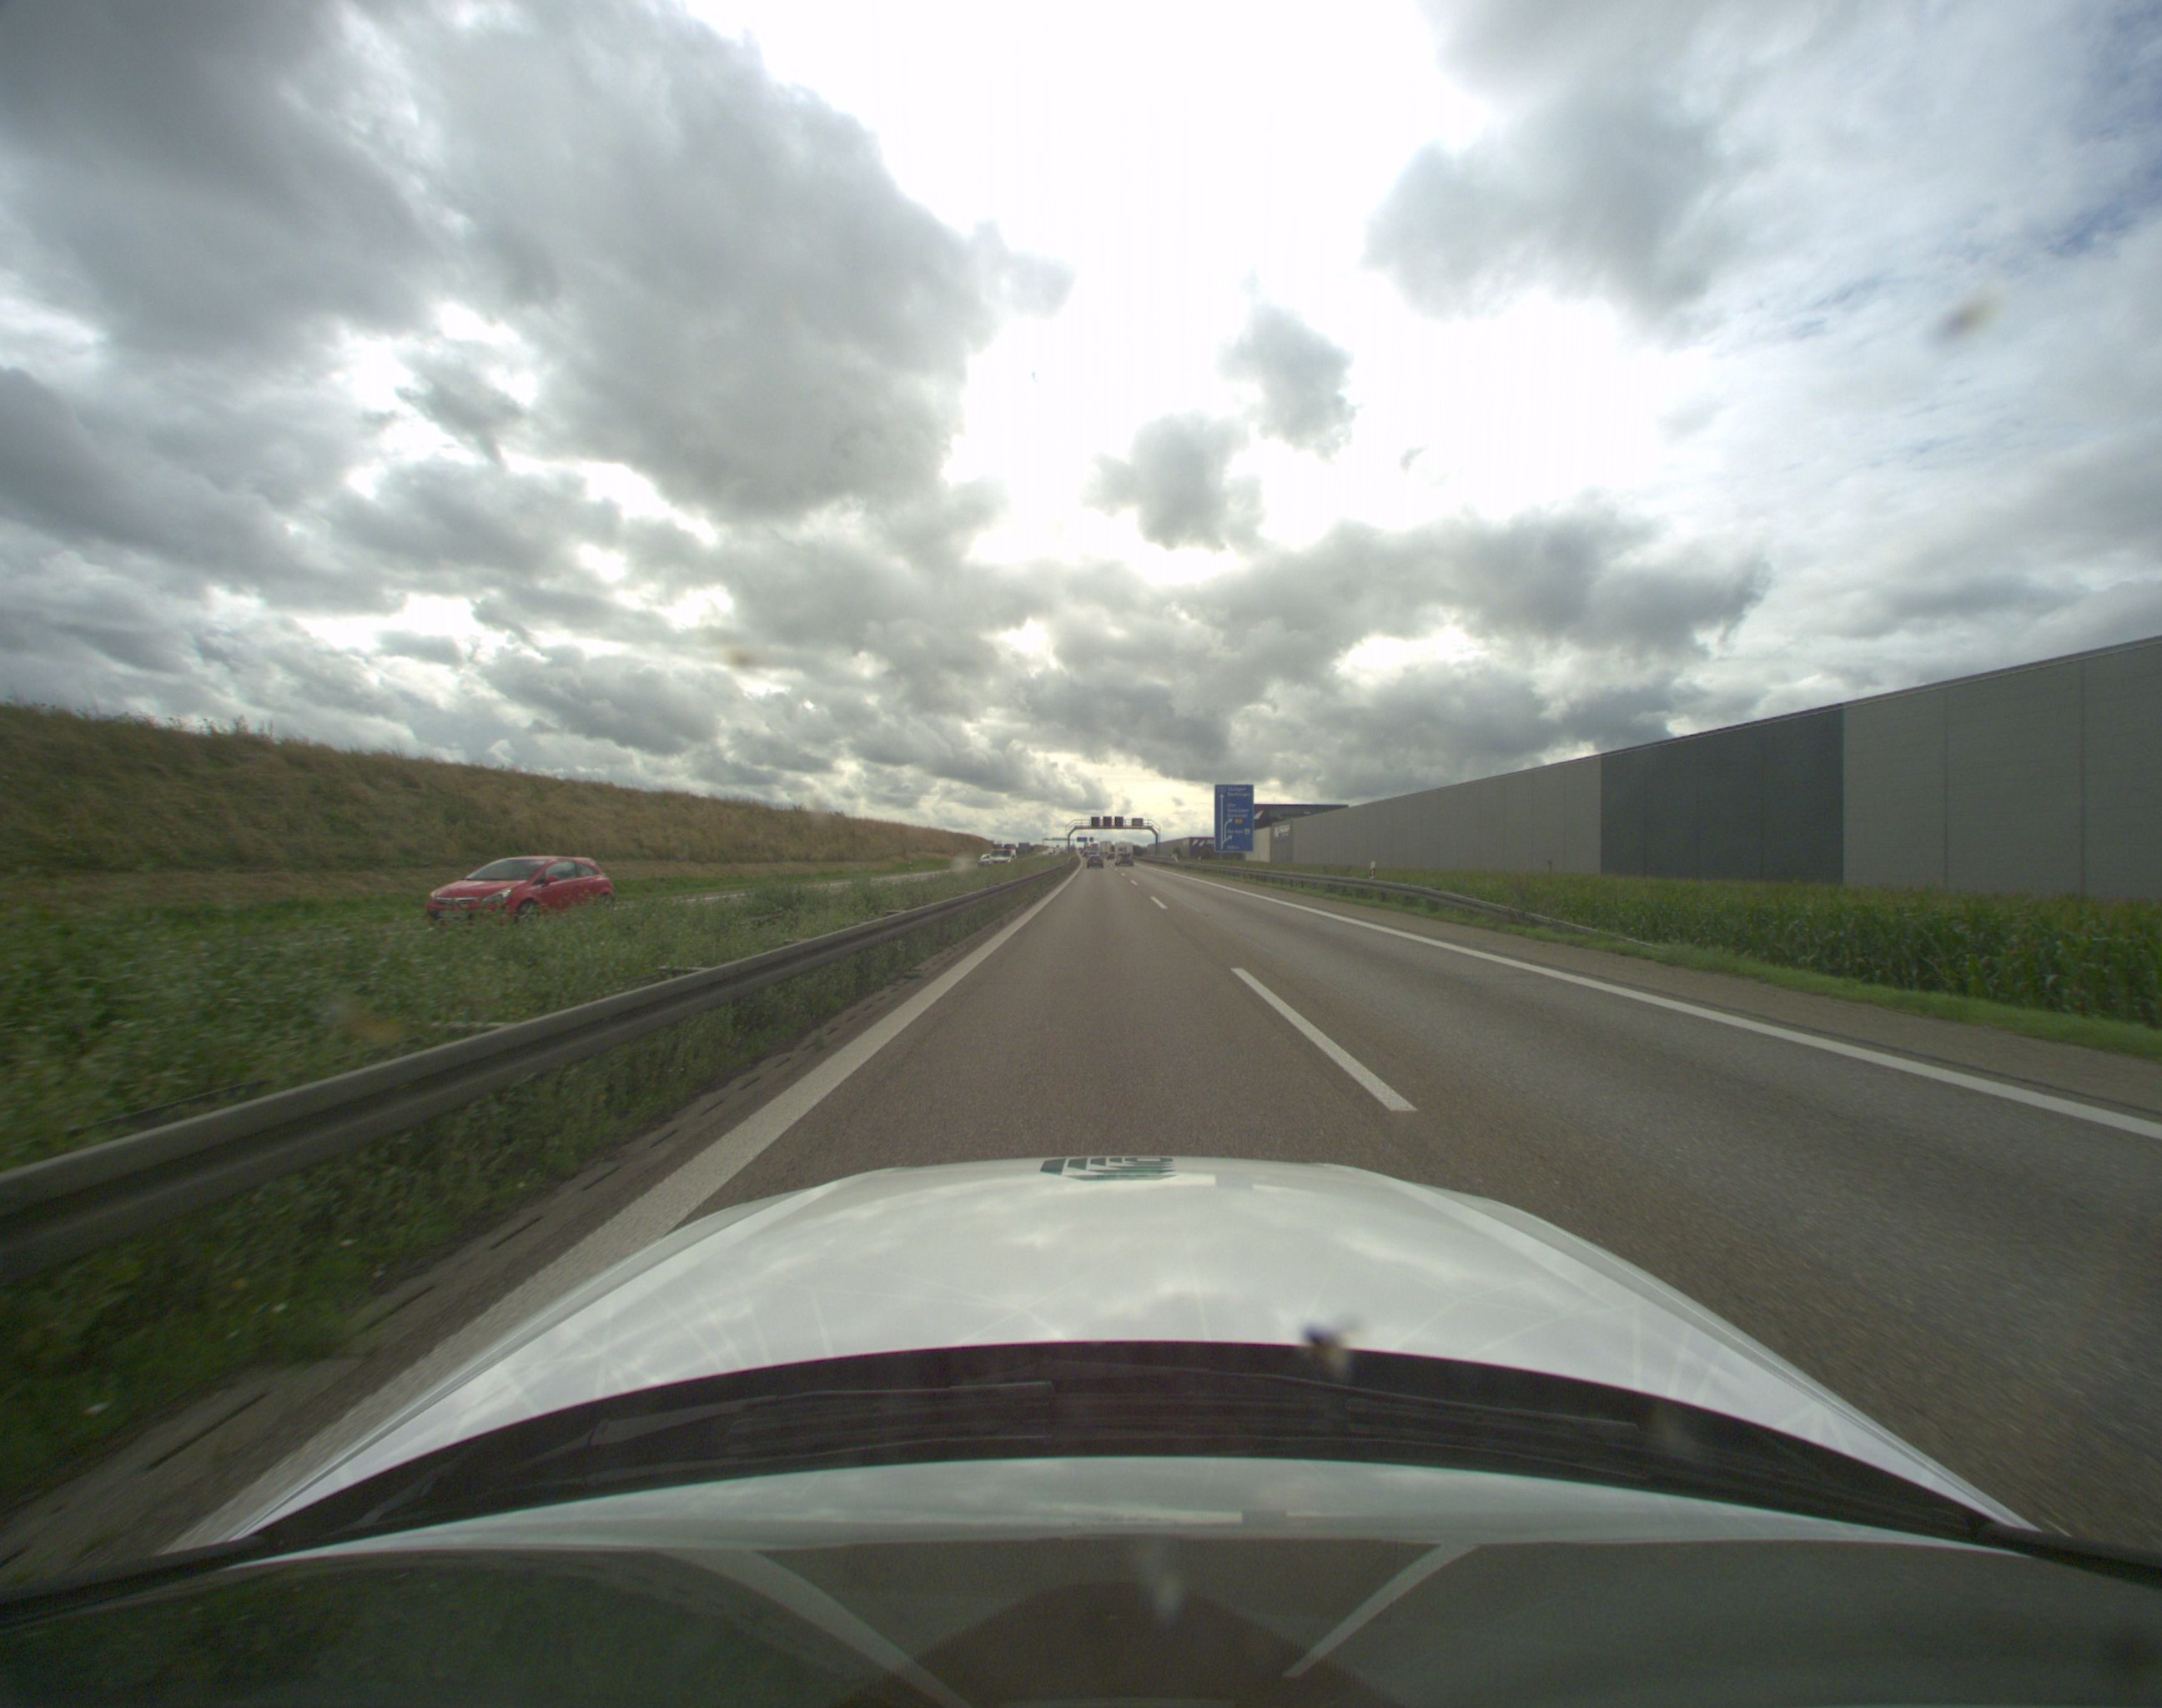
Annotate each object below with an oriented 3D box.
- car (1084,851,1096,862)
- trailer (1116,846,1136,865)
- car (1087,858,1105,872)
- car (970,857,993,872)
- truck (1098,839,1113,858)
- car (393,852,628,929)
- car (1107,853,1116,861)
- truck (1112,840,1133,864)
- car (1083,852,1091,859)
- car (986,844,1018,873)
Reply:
[{"bbox_3d":[1.507,0.424,134.984,1.938,1.685,4.002,0,0,2],"label":"car"},{"bbox_3d":[5.317,0.187,97.674,2.329,2.136,4.002,0,-1,2],"label":"trailer"},{"bbox_3d":[1.638,1.142,87.757,1.739,1.453,4.002,0,0,2],"label":"car"},{"bbox_3d":[-10.327,1.097,85.010,1.766,1.454,4.001,0,0,2],"label":"car"},{"bbox_3d":[6.071,-1.363,202.762,3.328,4.534,8.015,0,-1,0],"label":"truck"},{"bbox_3d":[-11.592,0.680,16.994,1.717,1.403,4.344,0,0,2],"label":"car"},{"bbox_3d":[5.936,0.604,157.834,1.794,1.685,4.001,0,0,2],"label":"car"},{"bbox_3d":[5.255,-0.242,104.447,2.474,2.950,5.814,0,0,0],"label":"truck"},{"bbox_3d":[1.612,0.345,210.792,1.936,1.775,3.698,0,0,2],"label":"car"},{"bbox_3d":[-6.583,0.361,68.374,1.987,2.348,5.871,0,0,1],"label":"car"}]
